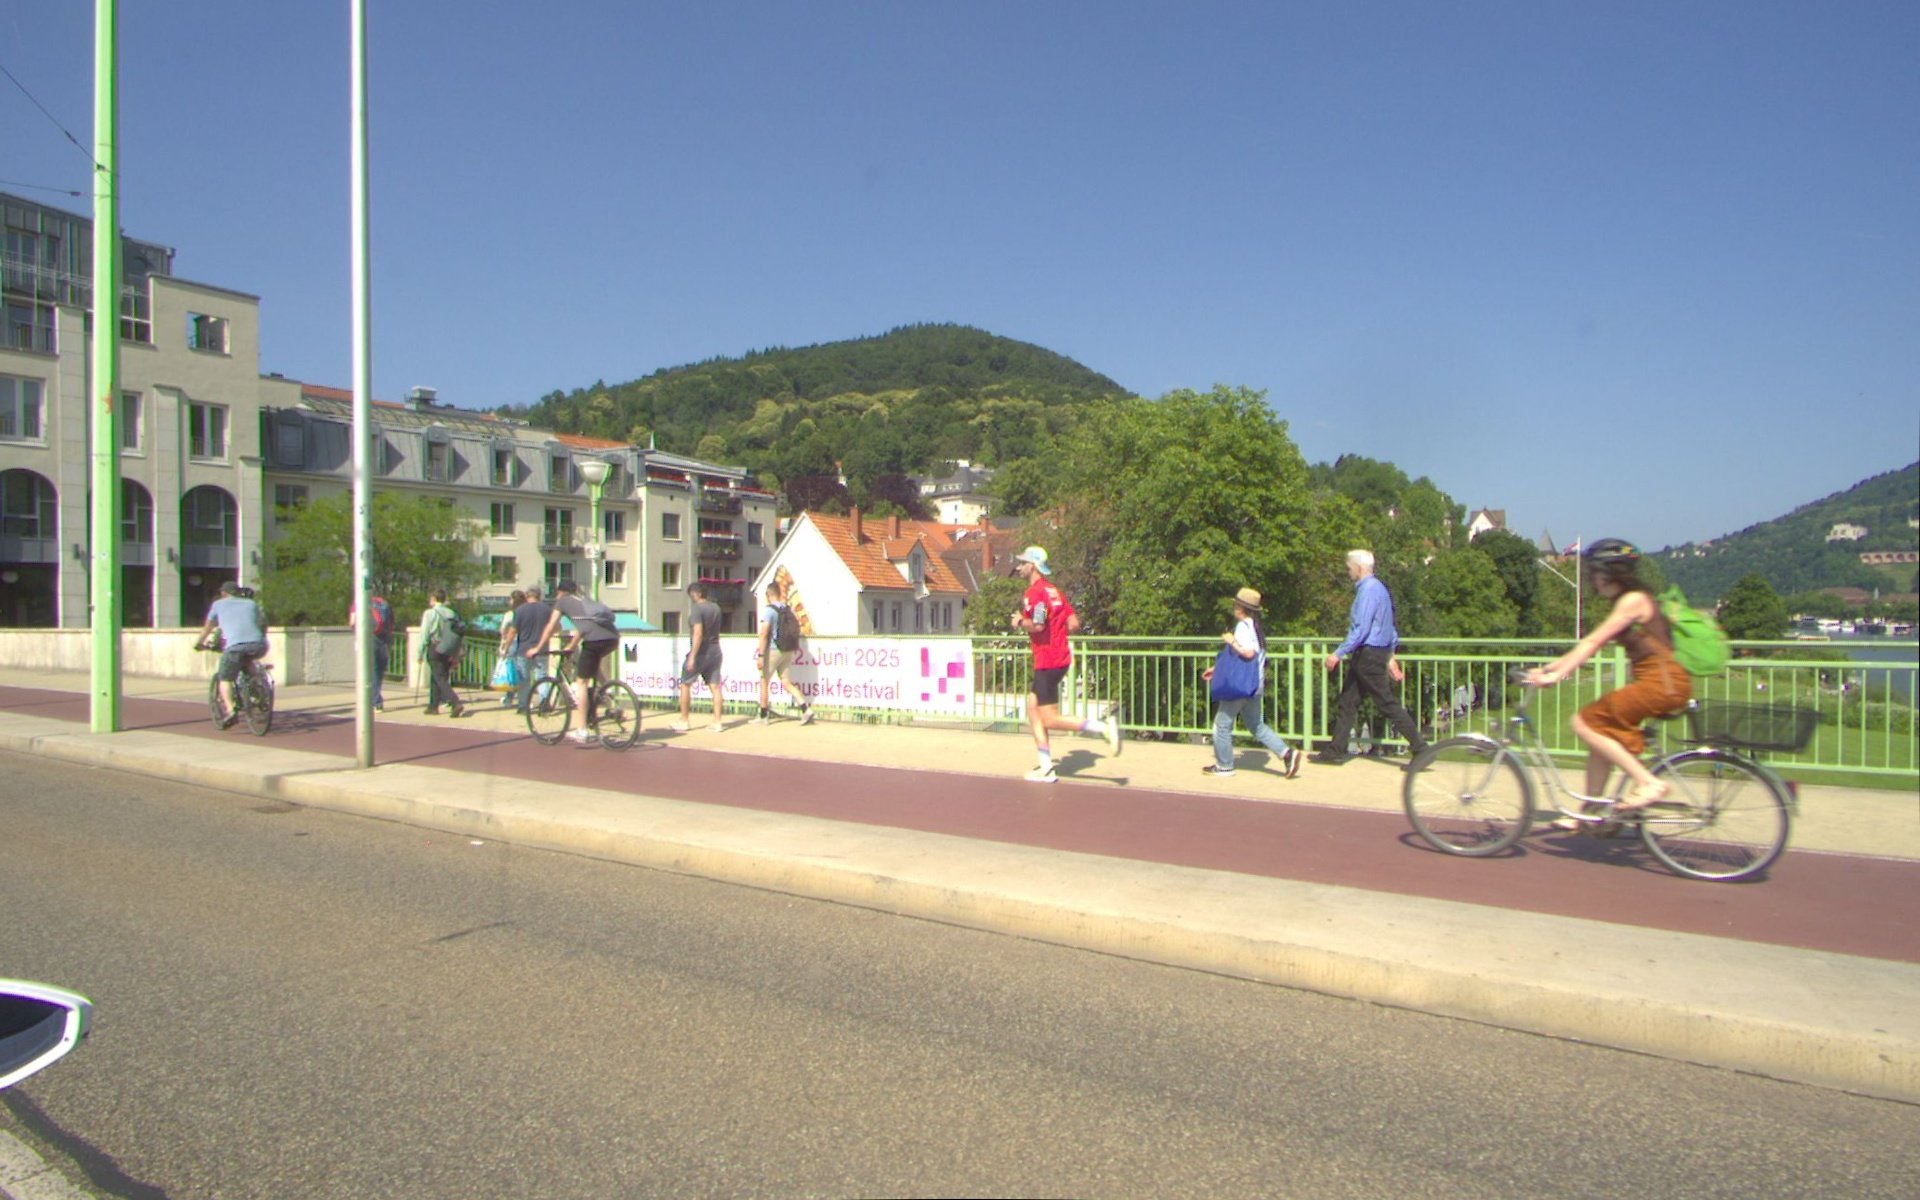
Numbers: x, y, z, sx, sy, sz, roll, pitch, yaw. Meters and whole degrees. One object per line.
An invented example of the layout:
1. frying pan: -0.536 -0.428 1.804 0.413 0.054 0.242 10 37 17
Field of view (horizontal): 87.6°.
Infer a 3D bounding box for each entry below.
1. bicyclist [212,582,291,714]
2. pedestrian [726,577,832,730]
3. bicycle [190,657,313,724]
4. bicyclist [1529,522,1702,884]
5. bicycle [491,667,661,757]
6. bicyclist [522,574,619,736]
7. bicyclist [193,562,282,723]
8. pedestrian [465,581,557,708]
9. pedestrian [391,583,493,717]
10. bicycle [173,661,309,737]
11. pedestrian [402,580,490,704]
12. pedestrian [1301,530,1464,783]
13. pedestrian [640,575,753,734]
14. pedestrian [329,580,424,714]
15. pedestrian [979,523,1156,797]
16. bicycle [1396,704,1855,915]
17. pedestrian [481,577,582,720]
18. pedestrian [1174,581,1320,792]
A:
1. bicyclist: -9.302 0.613 13.156 0.691 1.672 0.586 0 1 30
2. pedestrian: -2.160 0.614 11.991 1.001 1.741 0.738 0 1 32
3. bicycle: -9.356 1.172 13.205 1.838 0.776 0.593 -1 1 30
4. bicyclist: 3.287 0.478 5.053 0.692 1.672 0.603 0 1 33
5. bicycle: -3.903 1.101 10.128 1.804 0.776 0.593 -1 1 30
6. bicyclist: -3.935 0.536 10.125 0.691 1.579 0.586 0 1 30
7. bicyclist: -8.552 0.487 11.861 0.691 1.844 0.586 0 1 30
8. pedestrian: -6.490 0.615 14.491 1.001 1.770 0.737 0 2 32
9. pedestrian: -7.021 0.646 13.574 1.057 1.741 0.753 0 2 32
10. bicycle: -8.547 1.150 11.884 1.838 0.776 0.593 -1 1 30
11. pedestrian: -7.768 0.608 15.148 1.001 1.801 0.737 0 2 32
12. pedestrian: 3.506 0.437 8.284 1.120 1.923 0.924 0 1 32
13. pedestrian: -3.016 0.593 11.474 1.001 1.741 0.737 0 2 32
14. pedestrian: -8.266 0.636 14.188 1.001 1.826 0.737 0 2 32
15. pedestrian: 0.839 0.434 7.762 1.111 1.950 0.809 0 1 32
16. bicycle: 3.254 0.986 5.083 1.840 0.776 0.592 -1 1 33
17. pedestrian: -5.764 0.614 13.449 0.968 1.801 1.198 -2 2 -36
18. pedestrian: 2.279 0.634 7.926 0.919 1.550 0.827 0 2 32
